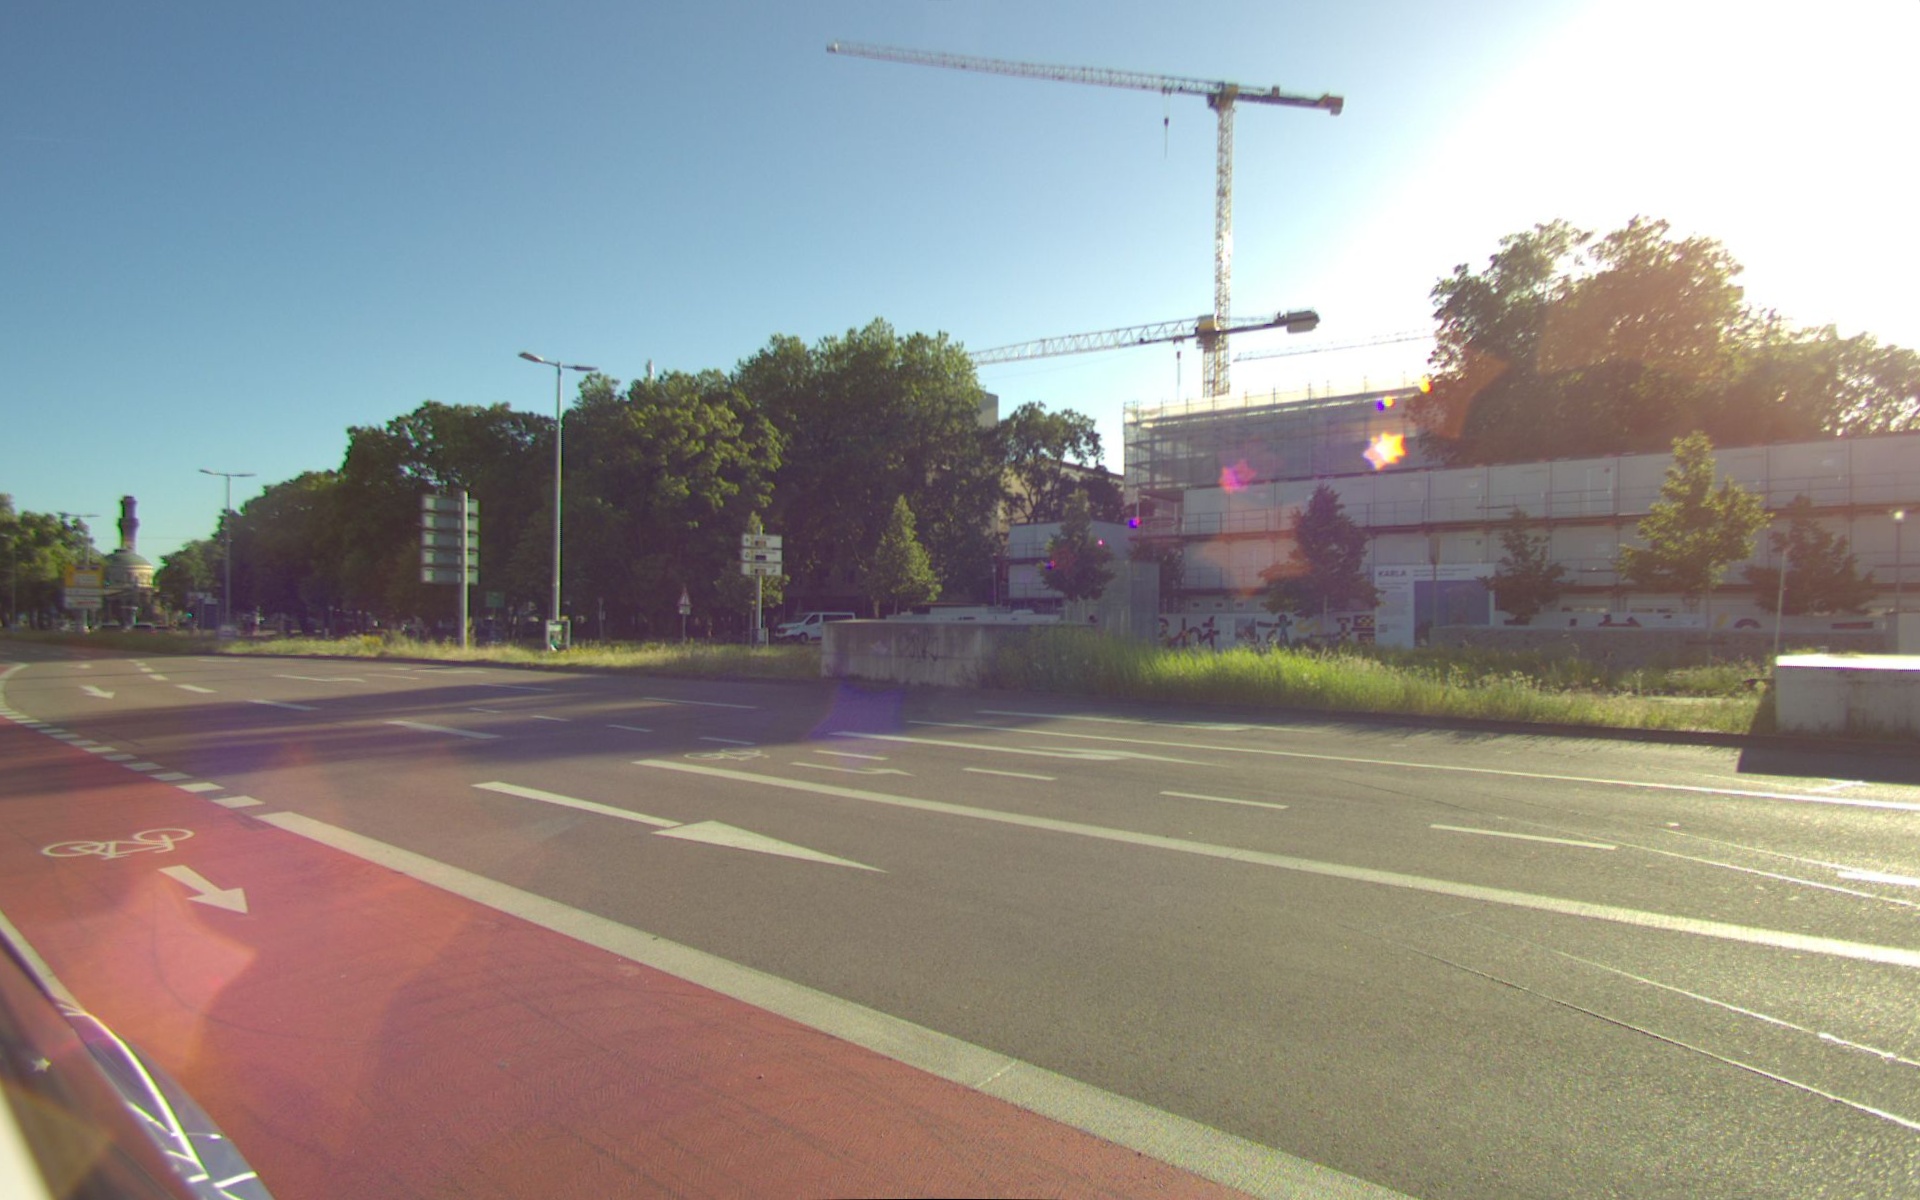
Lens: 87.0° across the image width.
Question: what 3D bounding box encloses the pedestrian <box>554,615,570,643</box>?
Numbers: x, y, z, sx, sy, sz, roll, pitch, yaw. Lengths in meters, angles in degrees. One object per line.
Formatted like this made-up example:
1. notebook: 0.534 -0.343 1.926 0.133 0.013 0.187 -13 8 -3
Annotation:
1. pedestrian: -25.464 1.858 64.784 0.762 1.738 0.698 -1 -2 41

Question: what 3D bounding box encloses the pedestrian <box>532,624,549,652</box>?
1. pedestrian: -26.385 2.391 63.664 0.762 1.738 0.698 -1 -2 41

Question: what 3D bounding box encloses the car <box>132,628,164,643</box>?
1. car: -82.389 3.571 102.653 4.000 1.519 1.972 -1 -2 43

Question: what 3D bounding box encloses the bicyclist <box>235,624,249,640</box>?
1. bicyclist: -55.782 2.481 78.620 0.884 1.292 0.631 -1 -2 36

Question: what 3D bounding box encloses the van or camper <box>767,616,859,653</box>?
1. van or camper: -8.928 2.069 61.950 1.948 2.029 5.576 -1 0 42

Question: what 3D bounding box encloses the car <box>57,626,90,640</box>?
1. car: -91.967 3.427 104.974 3.995 1.409 1.849 -1 -2 39

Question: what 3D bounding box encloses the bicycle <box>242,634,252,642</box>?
1. bicycle: -75.041 3.958 106.529 0.600 0.849 1.751 1 -2 -26

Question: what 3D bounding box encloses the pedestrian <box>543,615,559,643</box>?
1. pedestrian: -25.949 1.839 64.224 0.762 1.738 0.656 -1 -2 41

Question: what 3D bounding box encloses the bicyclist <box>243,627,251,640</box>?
1. bicyclist: -75.040 3.523 106.542 0.600 1.291 0.717 1 -2 -26

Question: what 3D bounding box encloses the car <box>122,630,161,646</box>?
1. car: -71.851 3.321 88.827 3.996 1.409 1.849 -1 -2 40

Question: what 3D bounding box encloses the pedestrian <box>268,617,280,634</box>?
1. pedestrian: -76.704 2.849 113.167 0.620 1.862 0.924 0 -2 3

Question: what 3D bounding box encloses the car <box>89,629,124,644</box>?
1. car: -80.984 3.436 96.010 3.997 1.409 1.849 -1 -2 40

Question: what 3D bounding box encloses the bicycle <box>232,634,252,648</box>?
1. bicycle: -55.660 3.149 78.459 2.239 1.030 0.631 -1 -2 36
